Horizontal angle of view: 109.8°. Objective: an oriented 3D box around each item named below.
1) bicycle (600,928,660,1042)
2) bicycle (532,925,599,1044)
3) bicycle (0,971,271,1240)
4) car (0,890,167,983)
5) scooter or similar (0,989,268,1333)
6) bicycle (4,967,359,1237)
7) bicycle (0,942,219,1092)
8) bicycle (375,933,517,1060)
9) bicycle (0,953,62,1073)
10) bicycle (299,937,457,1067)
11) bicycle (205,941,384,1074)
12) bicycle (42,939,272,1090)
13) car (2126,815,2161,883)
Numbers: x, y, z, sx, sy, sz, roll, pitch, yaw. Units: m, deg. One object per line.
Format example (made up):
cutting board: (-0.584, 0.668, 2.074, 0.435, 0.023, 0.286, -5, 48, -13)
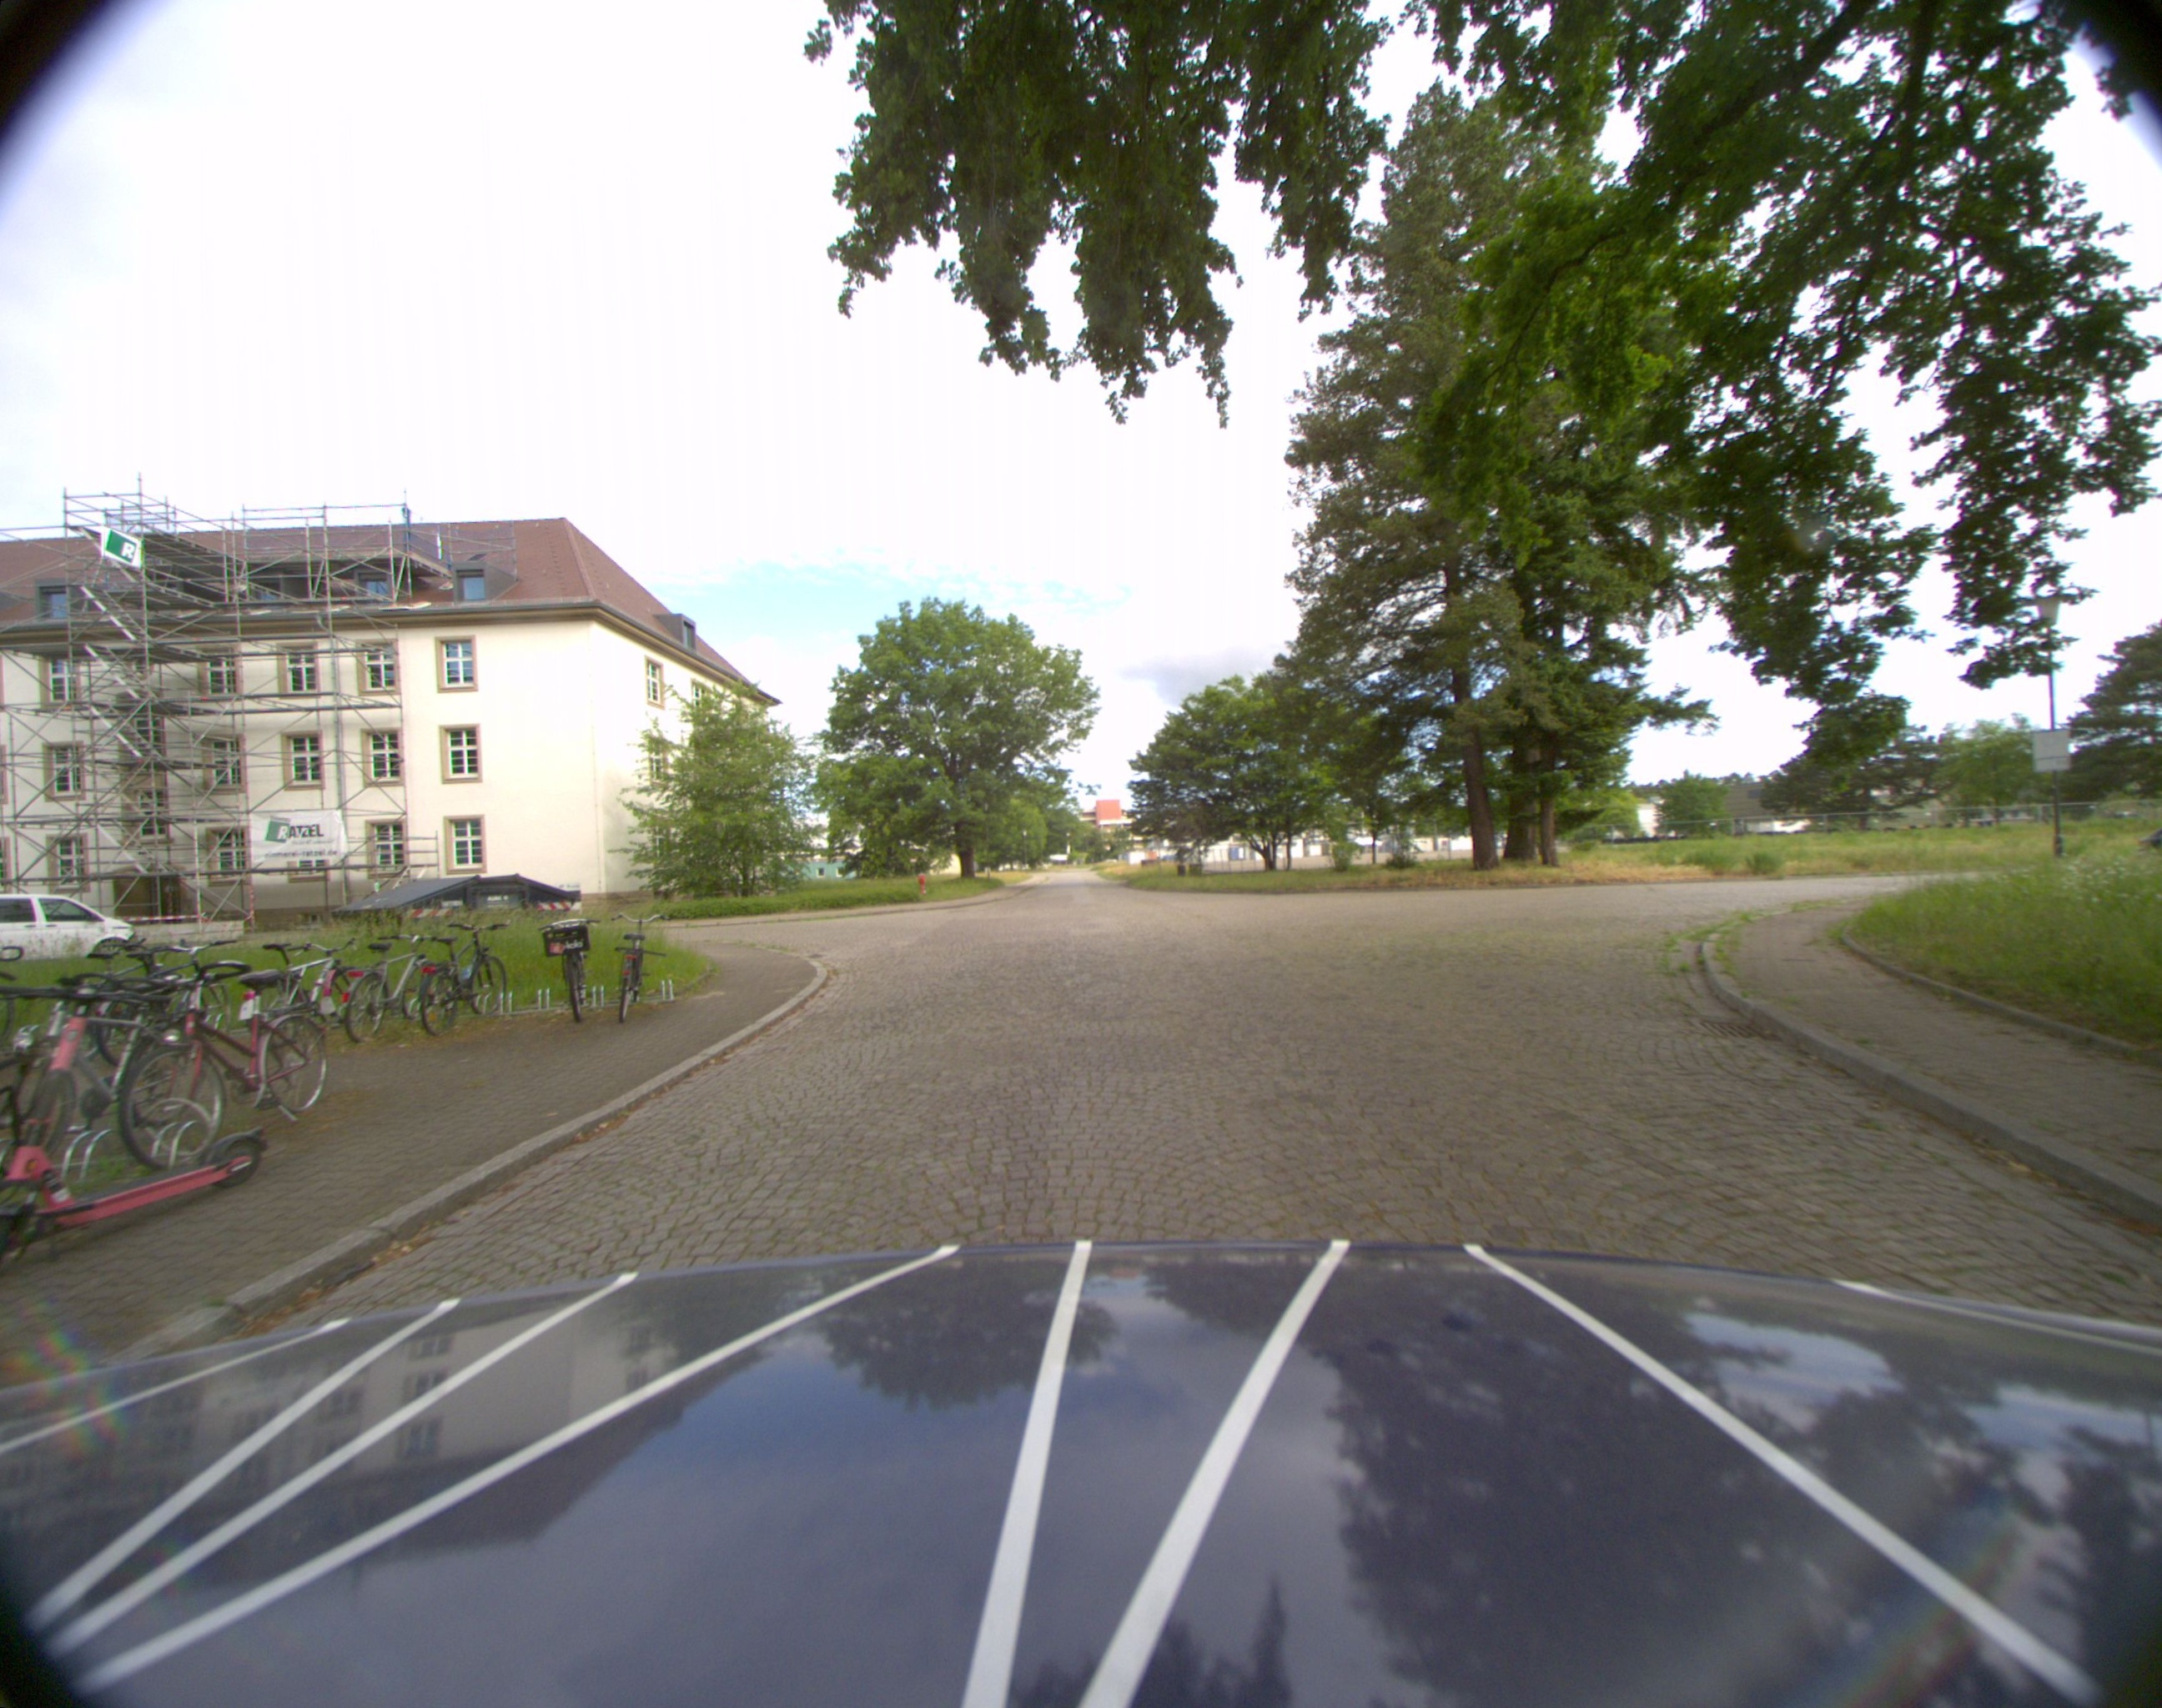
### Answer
bicycle: (-5.117, 1.426, 8.621, 0.478, 1.002, 1.619, -4, 2, -31)
bicycle: (-5.827, 1.423, 8.640, 0.478, 1.068, 1.619, -4, 2, -31)
bicycle: (-5.893, 1.398, 4.572, 0.552, 1.108, 1.802, -3, 0, -18)
car: (-25.523, 1.992, 17.716, 1.967, 1.985, 5.276, -3, 0, -1)
scooter or similar: (-4.596, 1.337, 3.556, 0.357, 1.202, 1.137, -3, 0, -4)
bicycle: (-5.441, 1.395, 4.781, 0.552, 1.108, 1.767, -3, 0, -18)
bicycle: (-9.432, 1.515, 7.471, 0.478, 1.105, 1.762, -3, 0, -22)
bicycle: (-6.695, 1.448, 8.110, 0.478, 1.002, 1.665, -3, 1, -17)
bicycle: (-10.669, 1.582, 7.033, 0.478, 1.105, 1.763, -3, 0, -17)
bicycle: (-7.306, 1.482, 7.995, 0.478, 1.002, 1.665, -3, 1, -17)
bicycle: (-8.077, 1.526, 7.904, 0.478, 1.002, 1.665, -3, 1, -17)
bicycle: (-8.898, 1.483, 7.433, 0.478, 1.105, 1.763, -3, 0, -17)
car: (23.078, -0.188, 13.959, 1.762, 1.396, 4.356, -3, -1, 2)
